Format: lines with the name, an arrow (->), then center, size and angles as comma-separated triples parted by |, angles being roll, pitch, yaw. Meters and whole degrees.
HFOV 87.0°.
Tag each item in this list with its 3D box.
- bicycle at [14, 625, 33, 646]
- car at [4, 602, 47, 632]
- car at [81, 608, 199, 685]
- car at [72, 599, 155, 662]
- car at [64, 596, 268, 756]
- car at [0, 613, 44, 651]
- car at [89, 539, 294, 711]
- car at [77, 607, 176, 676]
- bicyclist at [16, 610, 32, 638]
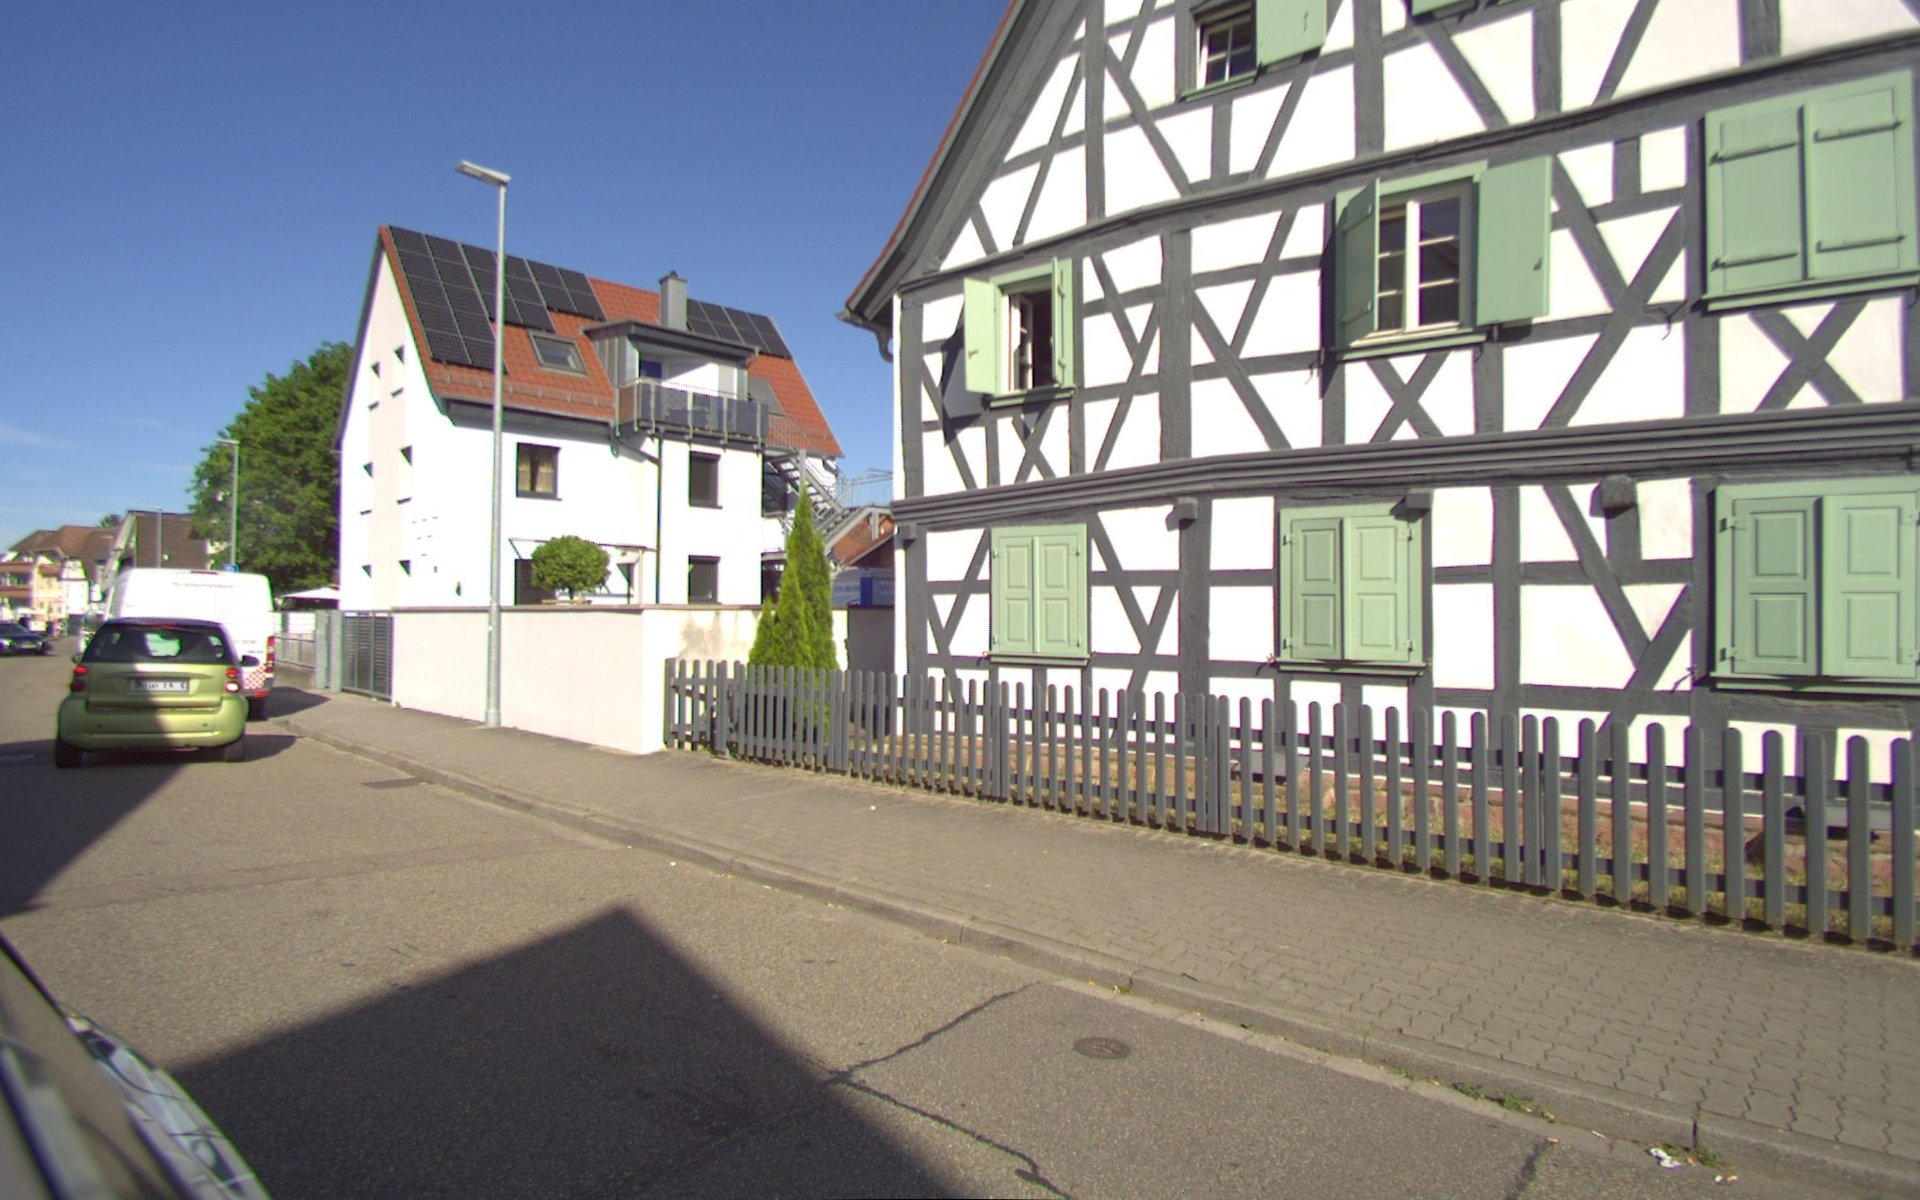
bicycle -> -56.191, 2.139, 60.720 | 2.022, 1.191, 0.631 | -1, 4, 44
car -> -79.048, 1.458, 85.579 | 5.516, 2.489, 2.227 | -1, -3, 43
car -> -17.922, 1.003, 22.056 | 1.691, 1.516, 4.240 | 4, -4, -42
car -> -28.055, 1.012, 33.479 | 1.879, 1.932, 5.076 | 3, -3, -42
car -> -8.914, 0.816, 11.494 | 1.553, 1.558, 2.972 | 4, -4, -37
car -> -39.318, 1.304, 42.042 | 1.787, 1.486, 4.849 | 0, -1, -43
car -> -13.173, 0.442, 17.149 | 2.170, 2.408, 6.071 | 2, -3, -42
car -> -20.969, 1.015, 25.400 | 1.694, 1.610, 3.930 | 3, -3, -42
bicyclist -> -56.092, 1.433, 60.658 | 0.605, 1.677, 0.634 | -2, -3, 44
